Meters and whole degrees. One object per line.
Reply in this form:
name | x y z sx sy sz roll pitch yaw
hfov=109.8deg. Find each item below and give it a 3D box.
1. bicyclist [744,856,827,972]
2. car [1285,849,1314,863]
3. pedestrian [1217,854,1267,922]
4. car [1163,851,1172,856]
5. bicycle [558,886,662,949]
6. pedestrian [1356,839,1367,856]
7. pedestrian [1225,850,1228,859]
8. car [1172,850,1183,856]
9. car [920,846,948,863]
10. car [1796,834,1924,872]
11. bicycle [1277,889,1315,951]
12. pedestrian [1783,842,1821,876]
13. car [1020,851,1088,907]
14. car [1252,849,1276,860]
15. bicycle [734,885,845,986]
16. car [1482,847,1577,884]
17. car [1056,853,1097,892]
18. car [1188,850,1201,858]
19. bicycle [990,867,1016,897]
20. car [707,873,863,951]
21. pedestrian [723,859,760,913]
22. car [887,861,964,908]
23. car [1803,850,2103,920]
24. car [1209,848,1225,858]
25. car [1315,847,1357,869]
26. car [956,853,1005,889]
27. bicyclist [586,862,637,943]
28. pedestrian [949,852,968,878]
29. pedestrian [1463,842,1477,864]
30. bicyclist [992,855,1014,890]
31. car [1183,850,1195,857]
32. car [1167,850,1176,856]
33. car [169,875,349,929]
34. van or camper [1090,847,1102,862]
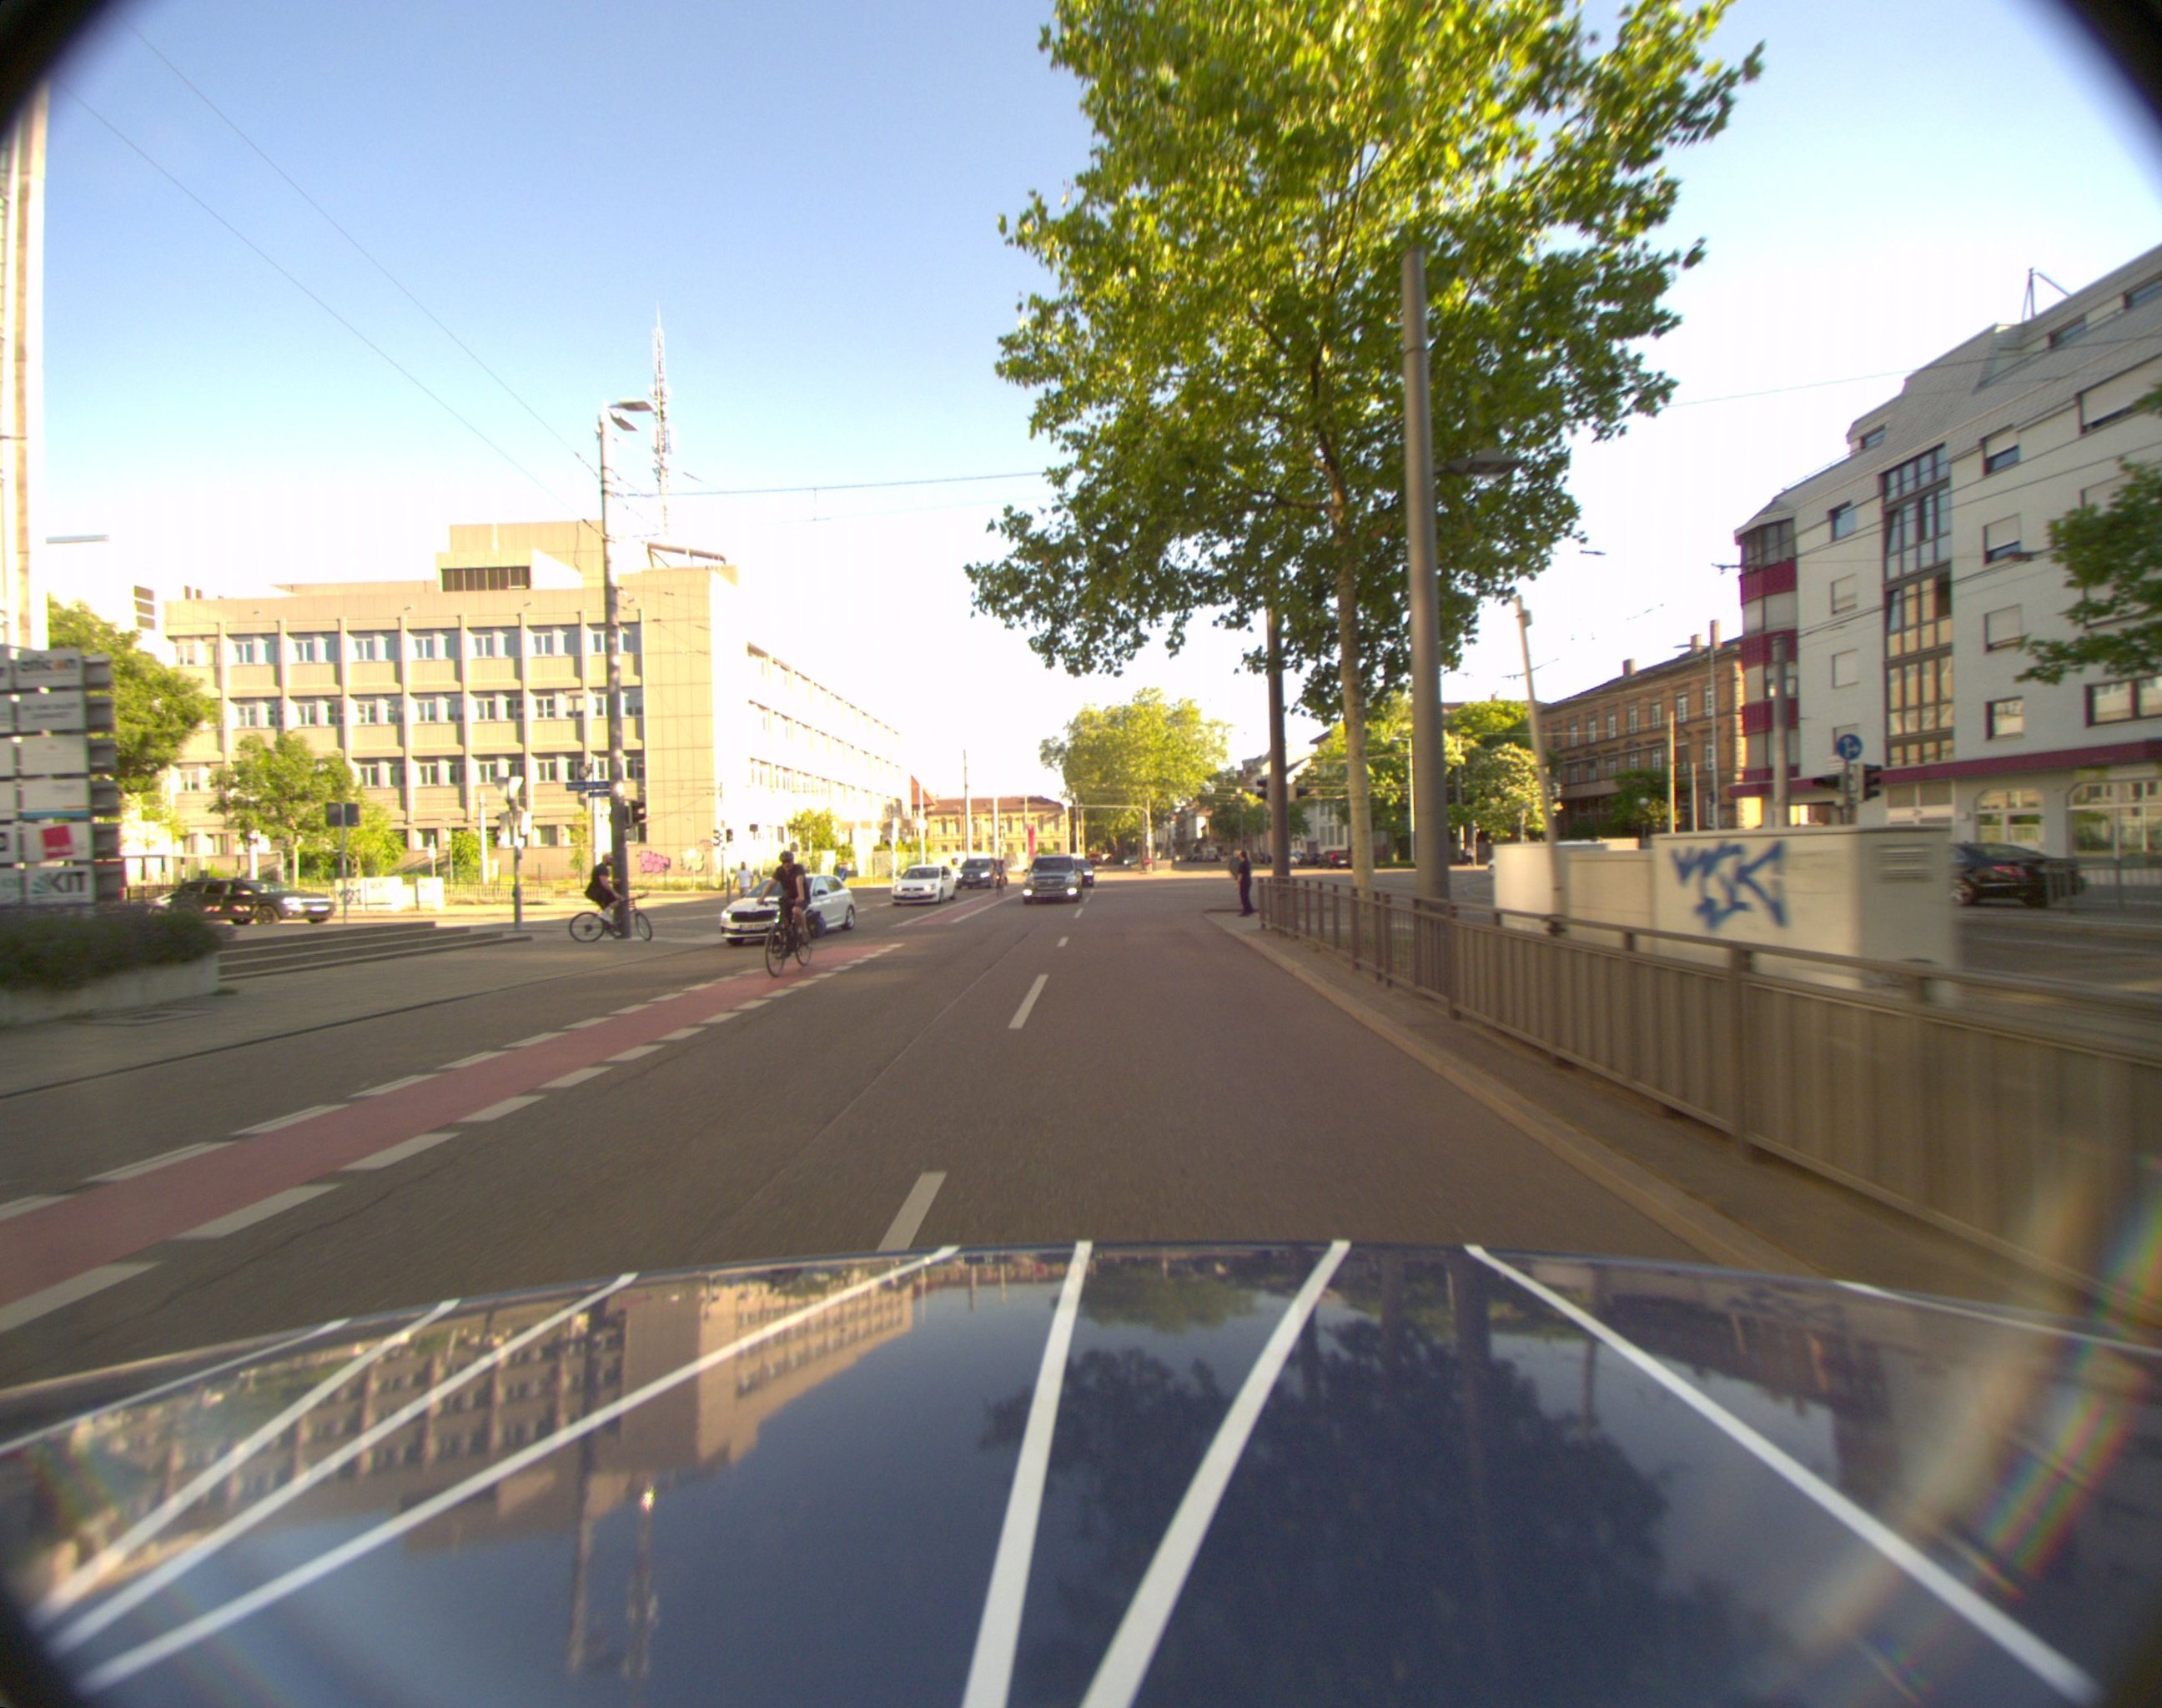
bicyclist | -4.287 0.842 11.109 0.651 1.593 1.089 -1 1 7
car | 25.326 0.209 88.325 2.087 1.481 3.996 -4 0 -1
pedestrian | 3.739 0.780 17.587 1.047 1.535 0.695 -1 1 17
car | 26.568 -0.144 233.057 2.087 1.531 4.120 -4 0 -1
bicycle | -10.145 1.330 16.408 1.870 1.273 0.650 1 -1 -34
pedestrian | 29.205 -0.627 79.036 0.736 1.742 1.019 -1 1 0
pedestrian | 29.417 0.012 153.566 0.561 1.798 0.705 -1 1 3
car | 26.319 -0.345 207.389 2.087 1.531 4.255 -4 0 -1
car | -16.288 0.055 84.367 1.998 1.832 4.785 -1 0 2
car | 35.147 -0.044 34.330 3.999 1.546 1.999 -1 0 -6
bicycle | 3.529 1.064 12.513 0.396 0.943 1.352 -1 -2 8
pedestrian | 30.627 0.205 32.284 0.859 1.376 0.836 -1 1 -8
car | -0.836 0.798 26.298 1.908 1.634 4.517 -4 0 2
car | 25.353 0.067 105.190 2.087 1.462 4.579 -4 0 -1
bicycle | -4.252 1.140 11.249 0.651 1.273 1.967 -1 0 7
car | 20.615 0.507 35.162 1.959 1.586 4.261 -1 0 2
car | -0.172 0.880 38.322 1.793 1.694 4.301 -4 0 2
car | 25.278 0.019 169.475 2.087 1.531 4.516 -4 0 -1
bicycle | -3.265 1.147 31.907 0.764 1.137 2.307 -1 0 2
car | -6.454 1.197 17.101 1.705 1.381 4.075 -2 0 2
pedestrian | -11.929 1.109 26.722 0.779 1.813 1.215 -1 1 -3
car | -5.772 1.088 28.740 1.793 1.493 4.301 -4 0 2
car | 19.976 0.615 17.810 1.704 1.391 4.651 -1 0 0
car | 26.165 -0.194 146.612 2.087 1.664 4.532 -4 0 -1
car | 20.629 0.287 61.549 1.960 1.663 4.260 -1 0 0
car | -5.231 0.854 40.057 1.793 1.634 4.301 -4 0 2
bicyclist | -10.139 1.017 16.398 0.865 1.662 0.650 -2 1 -34
pedestrian | -8.744 0.754 54.197 1.084 1.802 0.734 -3 2 -42
pedestrian | 29.823 -0.050 58.234 0.570 1.655 0.630 -4 1 -24
bicyclist | -3.283 0.757 32.006 0.727 1.414 0.859 -3 1 2
car | 25.920 -0.108 182.566 2.087 1.531 5.104 -4 0 -1
car | 25.980 -0.308 217.710 2.087 1.531 4.008 -4 0 -1
car | -27.815 1.605 25.826 3.997 1.685 1.988 -1 -1 1
van or camper | 2.748 -0.008 137.426 1.998 2.578 5.626 -3 1 2
